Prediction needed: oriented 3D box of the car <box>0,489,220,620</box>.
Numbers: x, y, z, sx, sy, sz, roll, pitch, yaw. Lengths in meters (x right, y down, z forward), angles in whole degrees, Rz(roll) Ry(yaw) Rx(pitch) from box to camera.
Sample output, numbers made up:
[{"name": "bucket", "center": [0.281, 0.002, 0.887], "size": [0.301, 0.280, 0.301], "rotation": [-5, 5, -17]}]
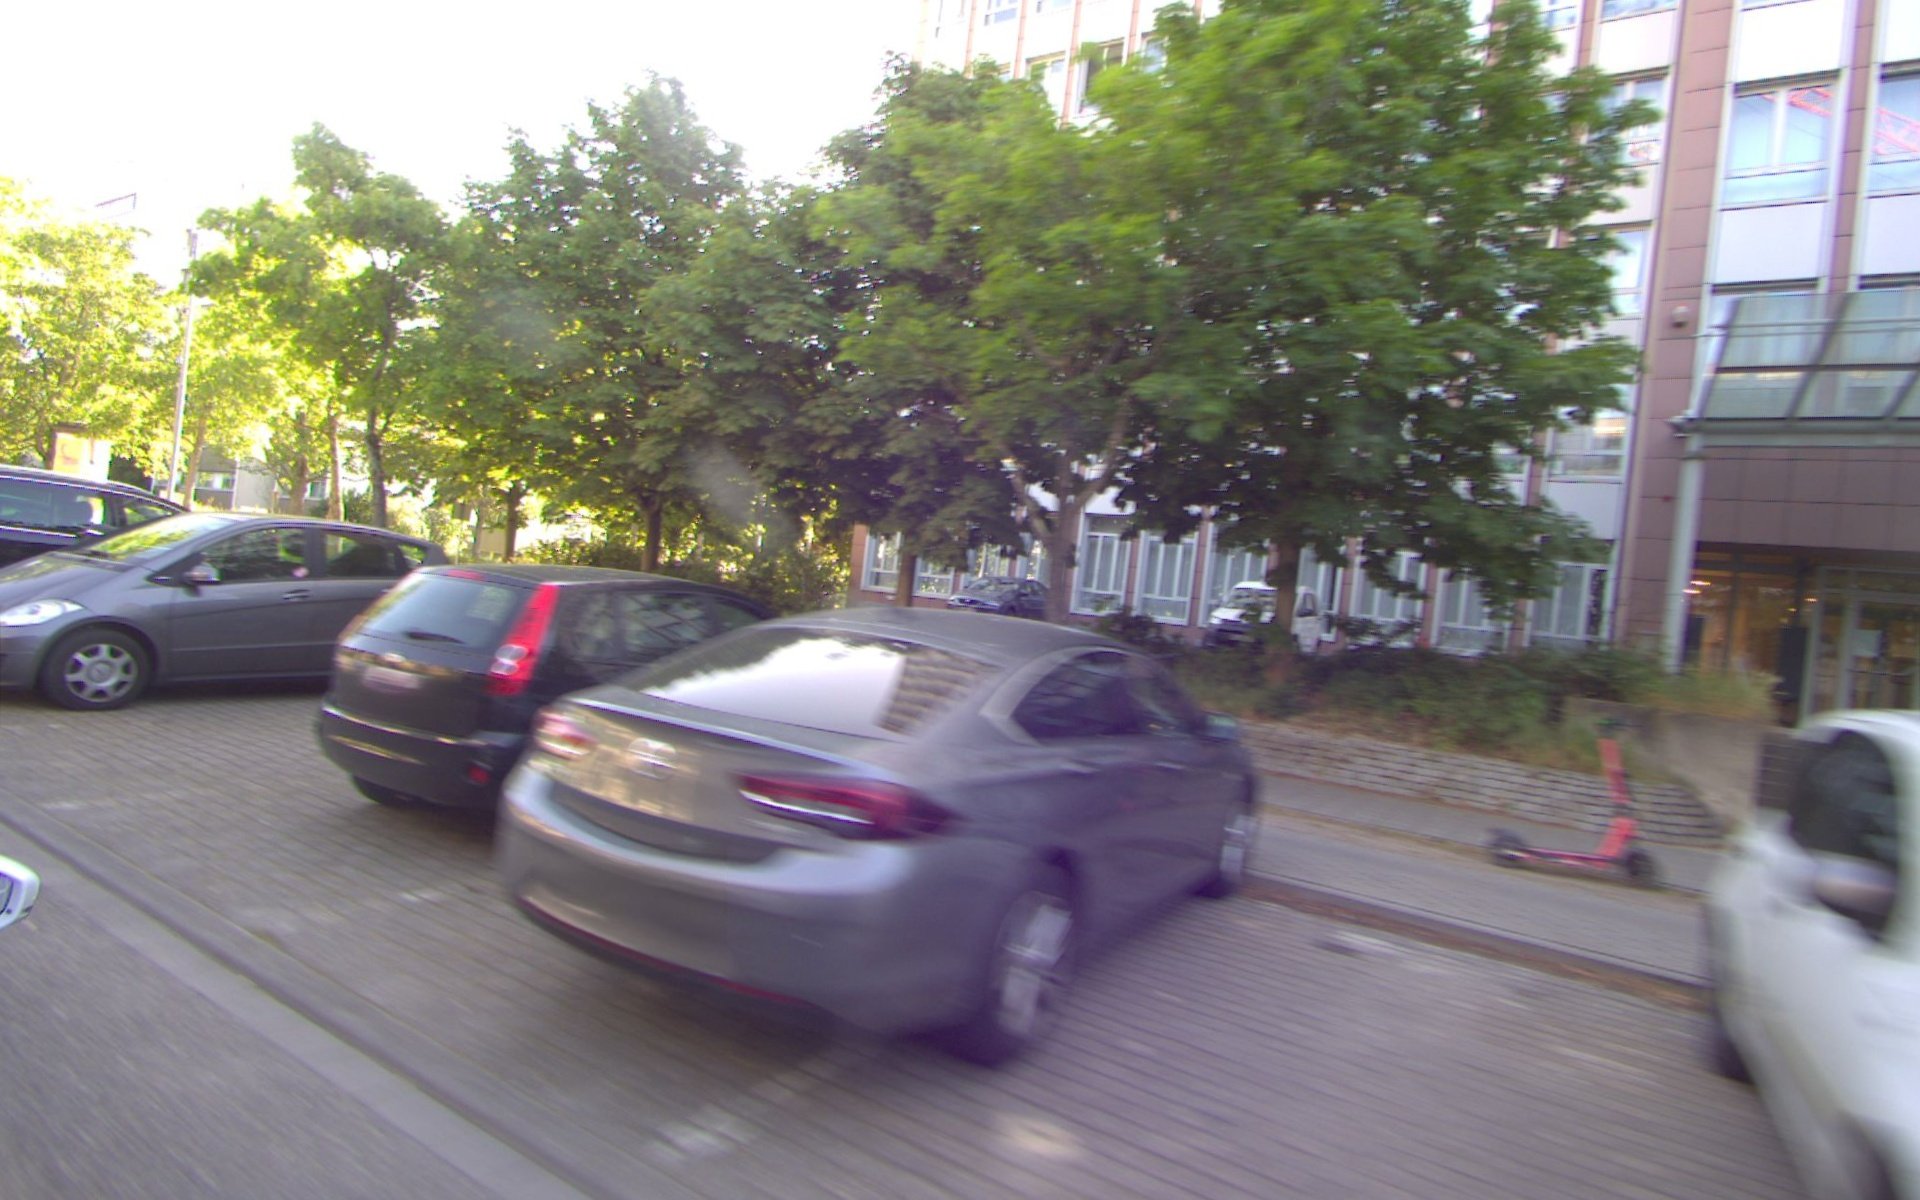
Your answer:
[{"name": "car", "center": [-11.791, -0.607, 12.488], "size": [1.564, 1.466, 3.838], "rotation": [8, 2, 29]}]

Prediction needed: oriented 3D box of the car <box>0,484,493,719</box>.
[{"name": "car", "center": [-6.426, 0.040, 8.801], "size": [1.778, 1.584, 3.878], "rotation": [6, 0, 27]}]

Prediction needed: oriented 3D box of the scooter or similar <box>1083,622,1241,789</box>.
[{"name": "scooter or similar", "center": [1.950, 0.997, 9.752], "size": [1.292, 1.418, 0.415], "rotation": [6, -1, 29]}]

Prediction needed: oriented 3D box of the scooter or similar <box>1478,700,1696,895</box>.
[{"name": "scooter or similar", "center": [4.578, 1.422, 7.400], "size": [1.224, 1.200, 0.272], "rotation": [7, -1, 19]}]

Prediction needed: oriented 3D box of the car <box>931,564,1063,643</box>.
[{"name": "car", "center": [1.052, 0.145, 25.947], "size": [1.694, 1.524, 4.237], "rotation": [7, -2, 26]}]

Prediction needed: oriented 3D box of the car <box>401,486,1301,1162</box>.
[{"name": "car", "center": [0.115, 0.692, 4.797], "size": [1.829, 1.571, 4.429], "rotation": [7, -2, 31]}]

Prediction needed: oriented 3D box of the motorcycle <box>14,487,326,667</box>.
[{"name": "motorcycle", "center": [-7.993, -0.168, 10.329], "size": [0.754, 1.599, 2.310], "rotation": [6, 0, 33]}]

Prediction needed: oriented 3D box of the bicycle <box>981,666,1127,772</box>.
[{"name": "bicycle", "center": [0.871, 1.096, 9.429], "size": [1.256, 0.782, 0.334], "rotation": [7, -1, 30]}]

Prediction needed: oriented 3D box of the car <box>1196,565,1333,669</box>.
[{"name": "car", "center": [6.651, 0.455, 21.603], "size": [1.843, 1.705, 4.729], "rotation": [7, -2, 28]}]

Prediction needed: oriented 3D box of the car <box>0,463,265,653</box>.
[{"name": "car", "center": [-9.743, -0.471, 10.460], "size": [1.697, 1.772, 3.674], "rotation": [6, 0, 34]}]

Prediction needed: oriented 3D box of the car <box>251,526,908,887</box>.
[{"name": "car", "center": [-2.034, 0.550, 6.488], "size": [1.694, 1.499, 3.719], "rotation": [6, 0, 26]}]

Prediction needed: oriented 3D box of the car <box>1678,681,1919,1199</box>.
[{"name": "car", "center": [3.127, 1.081, 2.517], "size": [1.695, 1.525, 3.577], "rotation": [6, 0, 30]}]
